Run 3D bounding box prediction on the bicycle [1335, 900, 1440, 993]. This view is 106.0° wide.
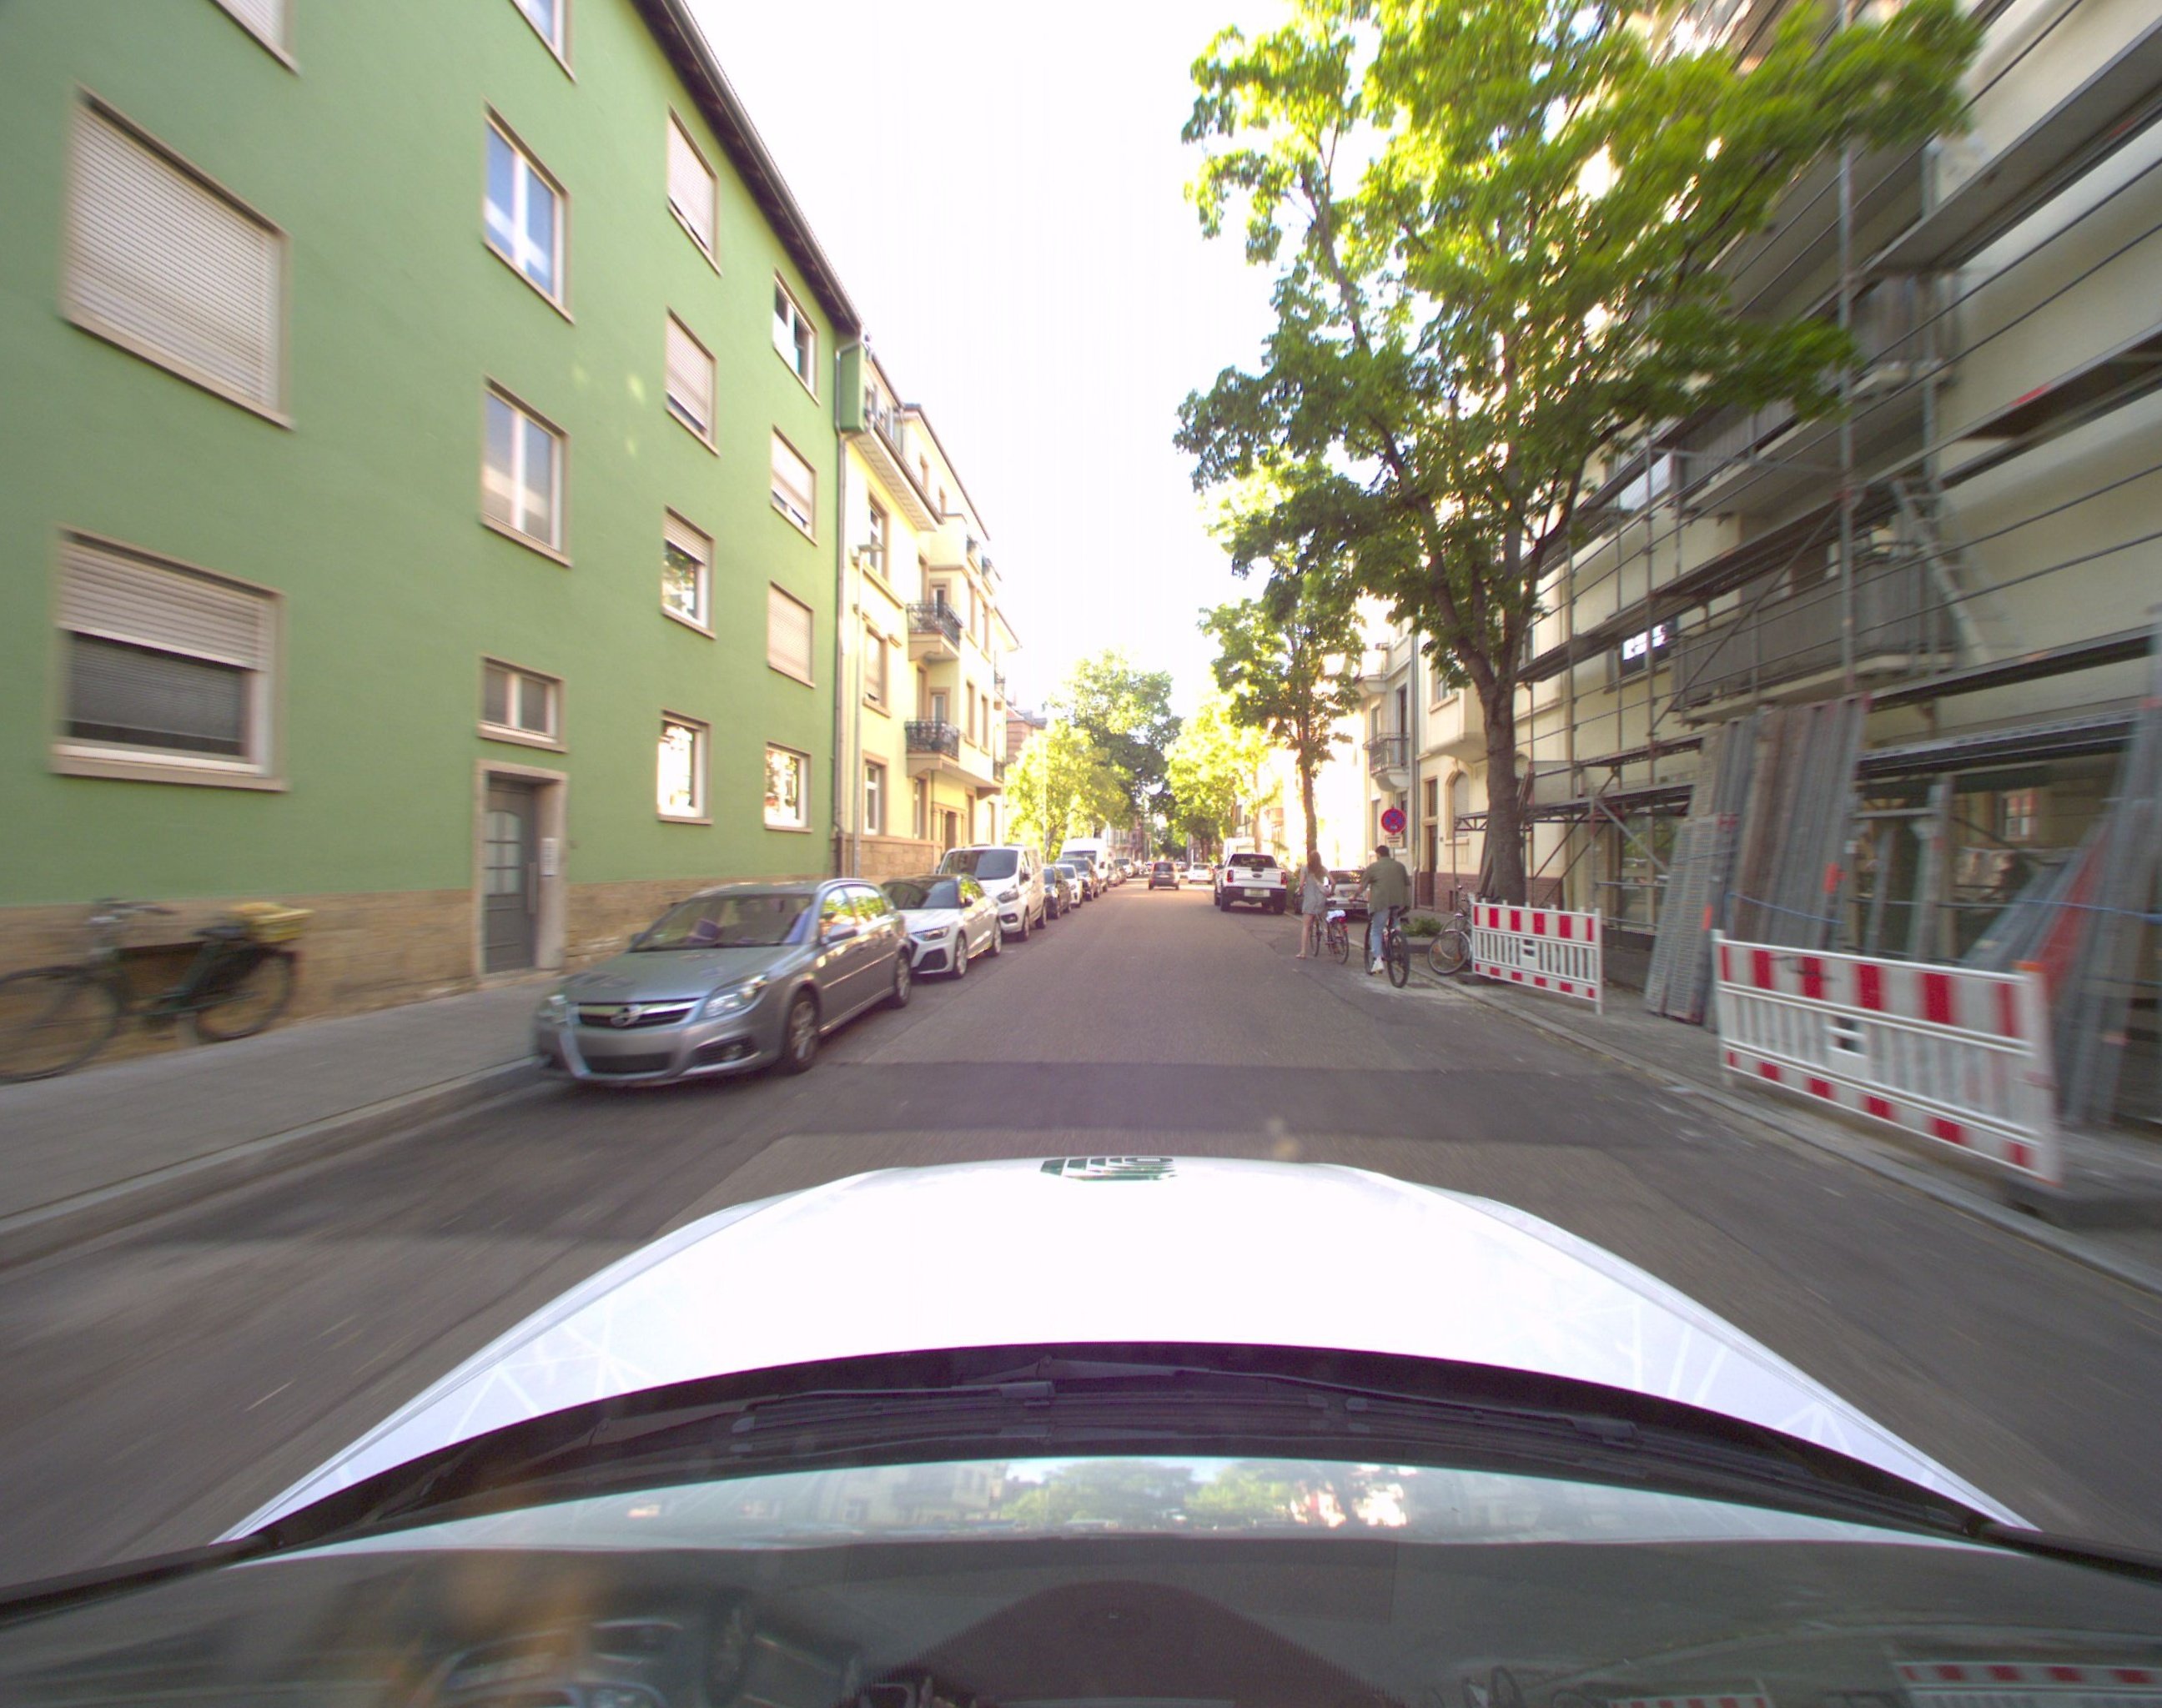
[{"bbox_3d":[4.078,1.192,10.999,0.736,1.060,1.858,1,-1,1],"label":"bicycle"}]

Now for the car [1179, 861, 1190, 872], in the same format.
[{"bbox_3d":[16.105,1.976,126.611,1.654,1.669,3.764,1,0,7],"label":"car"}]

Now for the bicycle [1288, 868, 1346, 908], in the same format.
[{"bbox_3d":[7.749,1.107,26.753,1.751,1.305,0.587,0,-1,4],"label":"bicycle"}]

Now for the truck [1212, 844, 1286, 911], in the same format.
[{"bbox_3d":[5.382,0.714,26.712,1.819,1.949,5.550,1,0,6],"label":"truck"}]

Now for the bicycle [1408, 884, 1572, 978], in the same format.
[{"bbox_3d":[5.565,1.006,11.129,1.904,1.121,0.752,0,-1,35],"label":"bicycle"}]

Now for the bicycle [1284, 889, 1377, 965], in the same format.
[{"bbox_3d":[3.993,1.143,13.190,0.705,1.045,1.854,3,-1,-6],"label":"bicycle"}]

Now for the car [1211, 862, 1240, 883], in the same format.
[{"bbox_3d":[10.861,1.338,61.385,1.778,1.514,4.466,1,0,5],"label":"car"}]

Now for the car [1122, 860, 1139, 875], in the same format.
[{"bbox_3d":[5.684,1.578,93.210,1.817,1.554,4.137,-4,-1,3],"label":"car"}]

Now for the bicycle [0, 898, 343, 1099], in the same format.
[{"bbox_3d":[-6.455,0.900,5.735,0.484,1.075,1.973,4,-1,6],"label":"bicycle"}]

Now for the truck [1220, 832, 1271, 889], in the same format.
[{"bbox_3d":[9.312,0.361,46.639,2.064,2.969,6.117,-2,-1,5],"label":"truck"}]

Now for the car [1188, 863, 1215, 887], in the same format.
[{"bbox_3d":[8.564,1.475,58.254,1.671,1.544,3.805,1,0,5],"label":"car"}]

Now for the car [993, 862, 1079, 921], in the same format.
[{"bbox_3d":[-1.225,1.032,24.148,1.757,1.521,4.833,-1,-1,6],"label":"car"}]

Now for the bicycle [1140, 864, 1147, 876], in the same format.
[{"bbox_3d":[5.935,1.494,77.560,0.662,1.077,1.687,0,-1,5],"label":"bicycle"}]

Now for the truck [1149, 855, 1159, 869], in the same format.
[{"bbox_3d":[16.319,1.727,182.010,2.059,2.926,5.077,-4,-1,7],"label":"truck"}]

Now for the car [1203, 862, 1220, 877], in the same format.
[{"bbox_3d":[13.148,1.524,82.351,1.512,1.511,3.550,0,-1,6],"label":"car"}]

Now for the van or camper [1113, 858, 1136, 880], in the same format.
[{"bbox_3d":[4.154,1.404,77.439,1.912,1.980,5.469,-3,-1,5],"label":"van or camper"}]

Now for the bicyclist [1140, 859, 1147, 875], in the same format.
[{"bbox_3d":[5.937,1.279,77.674,0.648,1.509,0.625,0,-1,4],"label":"bicyclist"}]

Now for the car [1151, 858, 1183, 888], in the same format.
[{"bbox_3d":[4.568,1.000,43.412,1.625,1.550,3.269,0,0,5],"label":"car"}]

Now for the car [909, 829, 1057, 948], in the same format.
[{"bbox_3d":[-1.957,0.688,18.132,2.241,2.169,5.249,-2,-1,4],"label":"car"}]

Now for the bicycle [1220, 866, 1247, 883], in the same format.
[{"bbox_3d":[10.562,1.415,56.421,1.802,1.167,0.570,-2,-1,4],"label":"bicycle"}]

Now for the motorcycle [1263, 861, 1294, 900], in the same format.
[{"bbox_3d":[7.824,1.026,32.362,0.925,1.486,2.142,1,-1,7],"label":"motorcycle"}]

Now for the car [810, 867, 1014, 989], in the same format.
[{"bbox_3d":[-2.328,0.977,12.491,1.824,1.462,4.369,-2,-1,5],"label":"car"}]

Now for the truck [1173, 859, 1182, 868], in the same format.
[{"bbox_3d":[23.136,2.286,195.143,1.983,1.992,4.006,0,0,6],"label":"truck"}]

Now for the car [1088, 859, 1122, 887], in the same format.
[{"bbox_3d":[1.542,1.157,50.489,1.771,1.591,4.475,-2,-1,5],"label":"car"}]

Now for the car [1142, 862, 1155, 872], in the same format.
[{"bbox_3d":[10.770,2.003,129.592,1.787,1.432,3.932,-3,-1,7],"label":"car"}]

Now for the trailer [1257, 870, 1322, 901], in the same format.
[{"bbox_3d":[7.779,1.161,30.434,2.079,1.112,1.112,1,-1,-8],"label":"trailer"}]

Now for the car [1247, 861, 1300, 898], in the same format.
[{"bbox_3d":[8.390,1.079,35.905,1.741,1.529,4.790,-1,-1,7],"label":"car"}]

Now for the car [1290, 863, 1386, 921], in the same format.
[{"bbox_3d":[7.074,0.992,22.863,1.672,1.422,4.437,-1,-1,5],"label":"car"}]

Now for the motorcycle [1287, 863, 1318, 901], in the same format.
[{"bbox_3d":[8.762,1.082,32.301,0.857,1.416,2.238,1,0,7],"label":"motorcycle"}]

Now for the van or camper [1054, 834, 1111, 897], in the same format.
[{"bbox_3d":[0.193,0.557,39.711,2.118,2.769,5.860,-2,-1,6],"label":"van or camper"}]

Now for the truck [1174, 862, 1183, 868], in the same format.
[{"bbox_3d":[22.616,2.564,189.775,1.983,1.457,4.006,0,0,6],"label":"truck"}]

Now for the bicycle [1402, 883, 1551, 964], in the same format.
[{"bbox_3d":[6.035,1.043,12.544,1.961,1.121,0.751,0,0,16],"label":"bicycle"}]

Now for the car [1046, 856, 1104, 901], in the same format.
[{"bbox_3d":[-0.179,0.953,33.938,1.866,1.685,4.977,-2,-1,5],"label":"car"}]

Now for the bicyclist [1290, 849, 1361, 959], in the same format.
[{"bbox_3d":[3.973,0.788,13.281,0.714,1.689,0.979,3,-1,-8],"label":"bicyclist"}]

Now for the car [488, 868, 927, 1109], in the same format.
[{"bbox_3d":[-2.837,0.906,7.485,1.713,1.462,4.510,-2,-1,3],"label":"car"}]

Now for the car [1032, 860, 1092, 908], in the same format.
[{"bbox_3d":[-0.605,1.016,28.876,1.627,1.552,4.094,-1,-1,5],"label":"car"}]

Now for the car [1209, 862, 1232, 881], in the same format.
[{"bbox_3d":[11.545,1.421,67.579,1.588,1.488,3.754,-1,-1,6],"label":"car"}]

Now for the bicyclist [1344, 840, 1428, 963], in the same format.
[{"bbox_3d":[4.111,0.617,11.042,0.753,1.565,0.981,2,-1,0],"label":"bicyclist"}]

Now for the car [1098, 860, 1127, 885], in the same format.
[{"bbox_3d":[2.231,1.283,56.665,1.667,1.572,4.159,-3,-1,7],"label":"car"}]
